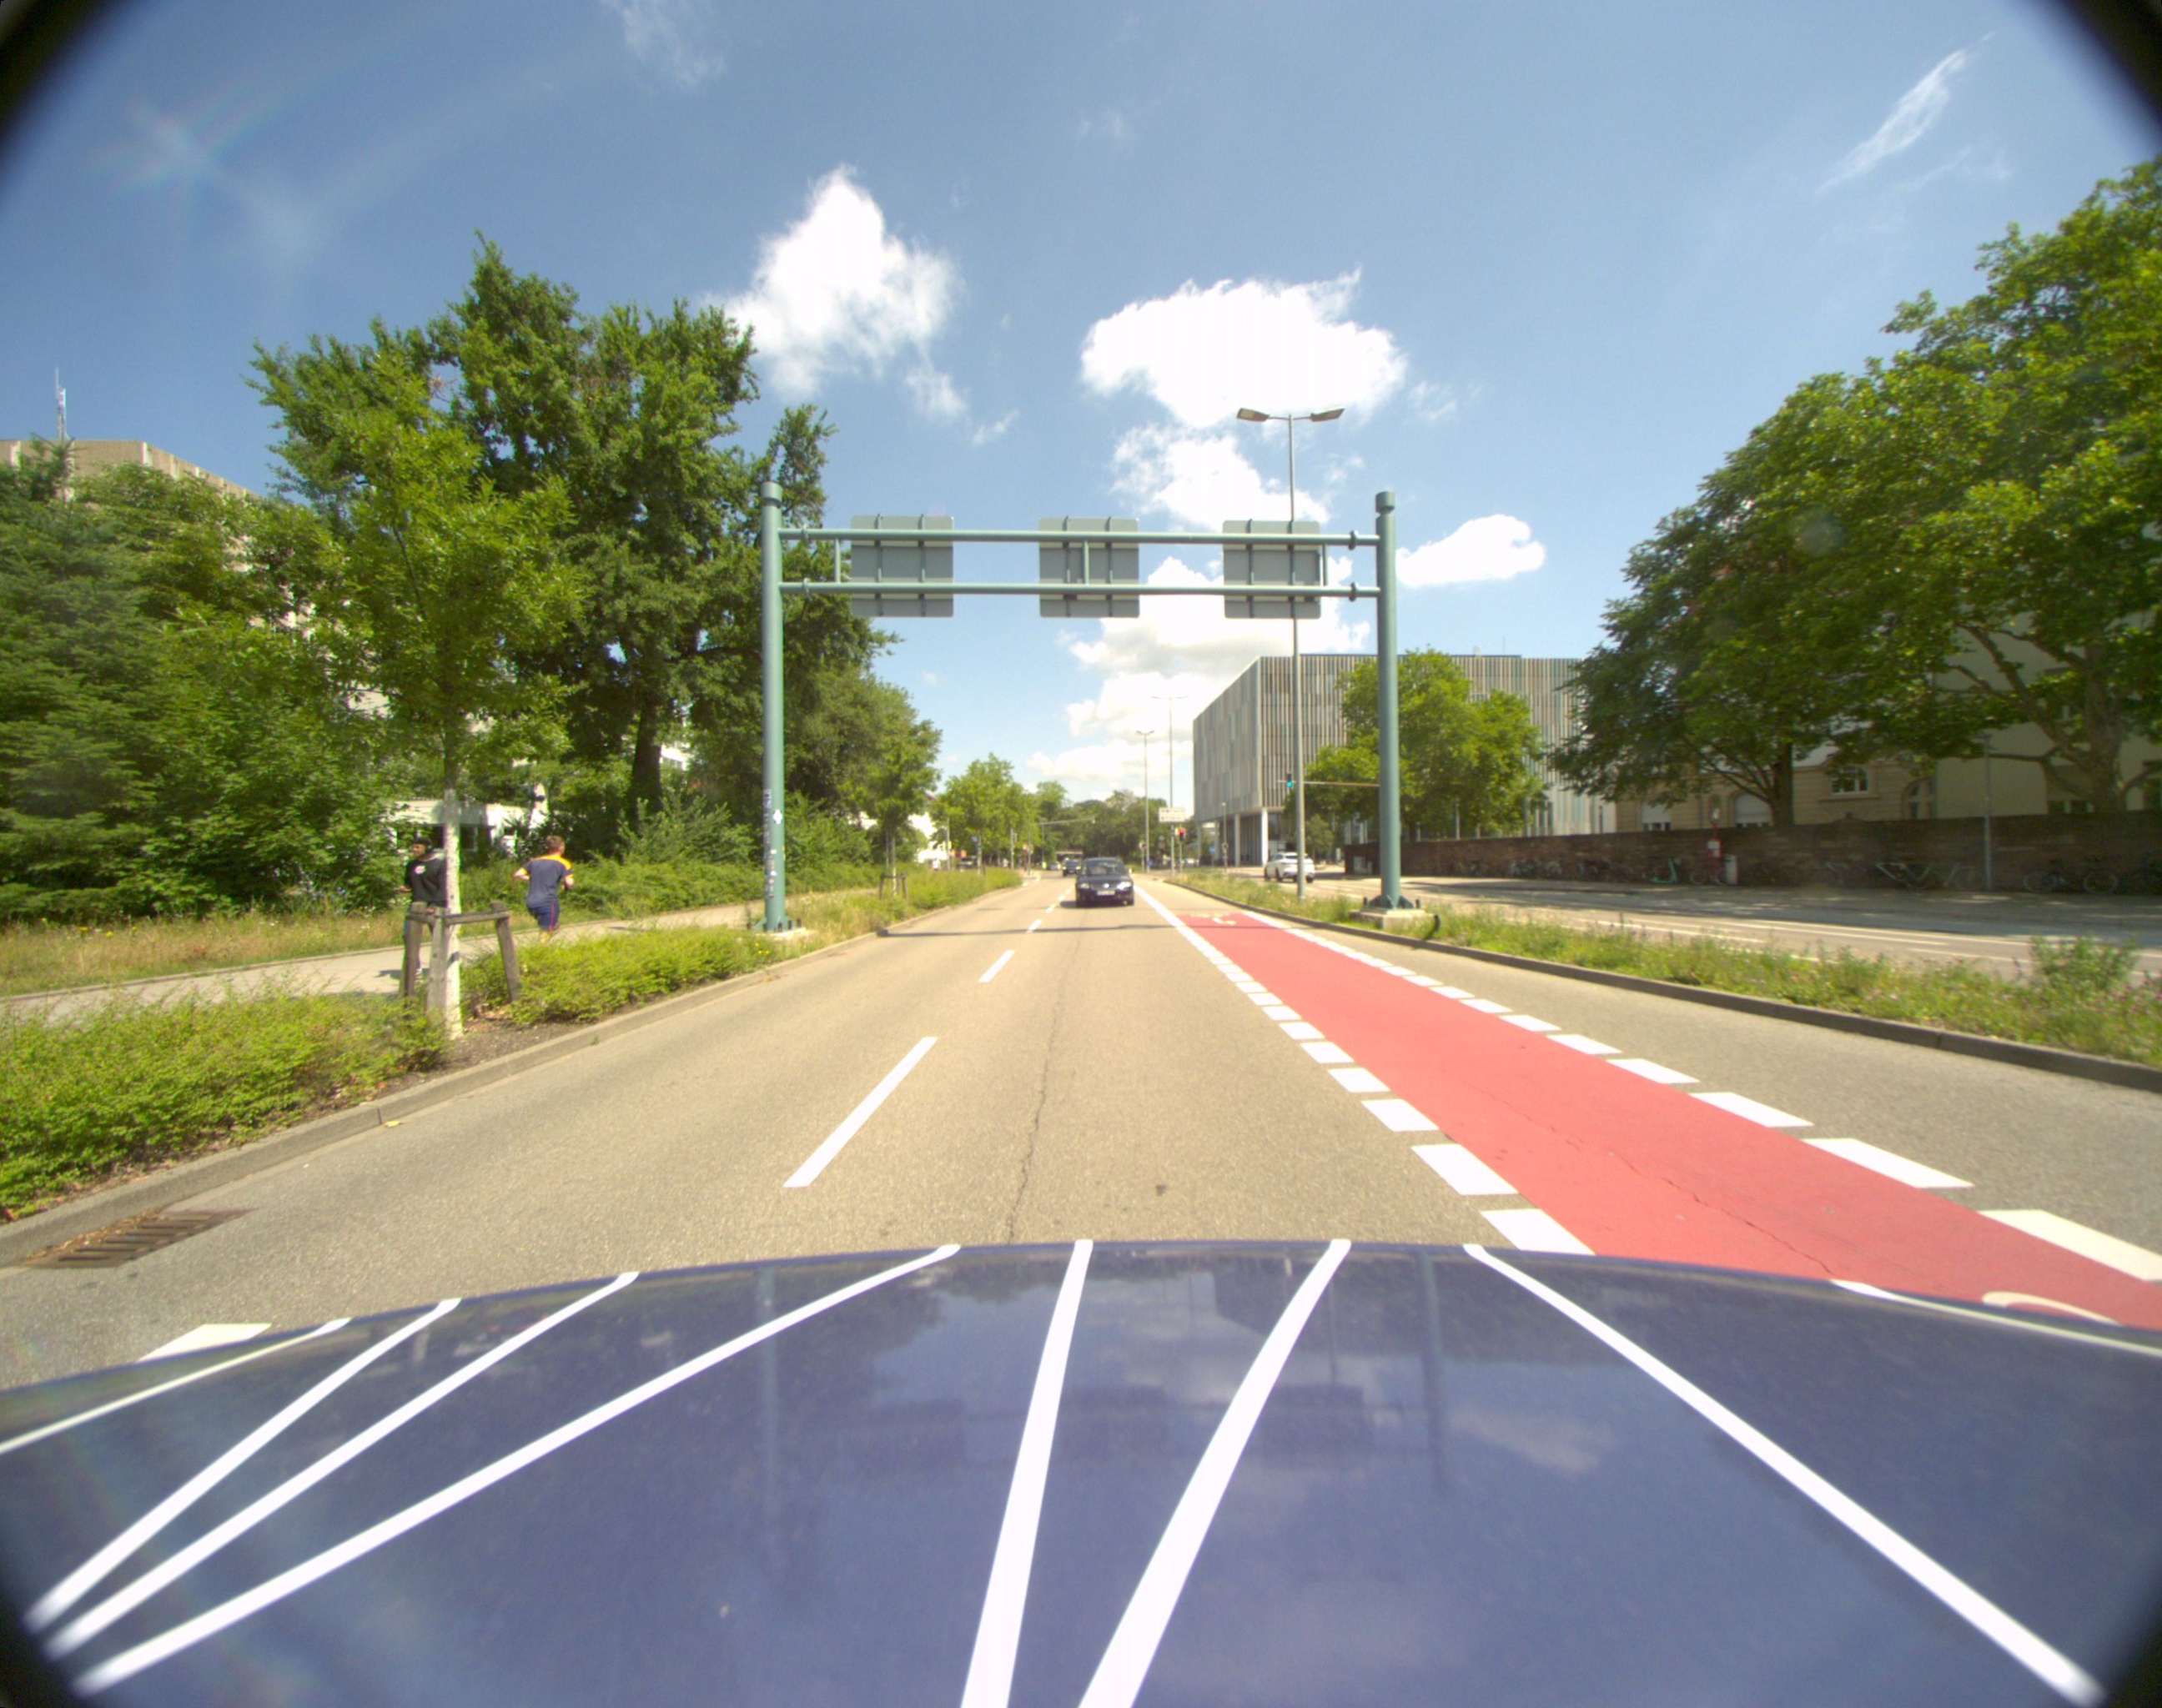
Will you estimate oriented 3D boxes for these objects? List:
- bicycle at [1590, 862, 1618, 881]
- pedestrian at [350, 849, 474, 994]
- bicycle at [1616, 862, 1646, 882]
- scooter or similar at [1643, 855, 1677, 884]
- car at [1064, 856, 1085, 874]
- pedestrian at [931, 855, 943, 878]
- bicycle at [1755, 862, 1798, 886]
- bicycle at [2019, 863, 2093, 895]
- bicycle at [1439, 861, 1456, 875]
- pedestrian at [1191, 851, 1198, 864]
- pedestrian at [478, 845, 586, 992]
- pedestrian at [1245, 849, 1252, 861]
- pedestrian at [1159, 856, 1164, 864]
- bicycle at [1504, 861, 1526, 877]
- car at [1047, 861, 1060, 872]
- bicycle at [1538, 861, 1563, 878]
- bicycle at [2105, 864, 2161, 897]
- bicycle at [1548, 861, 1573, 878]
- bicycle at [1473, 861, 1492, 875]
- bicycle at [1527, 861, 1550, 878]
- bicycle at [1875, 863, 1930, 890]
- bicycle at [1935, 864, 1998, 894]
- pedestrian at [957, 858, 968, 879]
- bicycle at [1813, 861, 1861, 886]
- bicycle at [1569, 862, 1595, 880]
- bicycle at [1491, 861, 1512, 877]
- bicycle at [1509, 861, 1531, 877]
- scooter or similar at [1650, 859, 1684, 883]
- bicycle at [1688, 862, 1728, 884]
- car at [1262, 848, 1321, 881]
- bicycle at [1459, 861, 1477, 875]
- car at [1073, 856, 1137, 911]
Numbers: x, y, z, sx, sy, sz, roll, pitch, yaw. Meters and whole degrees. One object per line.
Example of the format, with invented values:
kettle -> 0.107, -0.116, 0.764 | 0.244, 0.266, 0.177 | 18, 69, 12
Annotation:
bicycle -> 24.038, 0.791, 34.916 | 0.265, 0.826, 1.235 | -1, 0, -11
pedestrian -> -8.114, 0.791, 9.248 | 0.760, 1.674, 0.817 | -1, 0, 12
bicycle -> 24.149, 0.779, 33.380 | 0.265, 0.826, 1.235 | -1, 0, -11
scooter or similar -> 23.807, 0.629, 31.278 | 0.265, 1.182, 1.234 | -1, 0, -11
car -> -0.570, 1.024, 71.782 | 1.816, 1.598, 4.479 | -3, 0, 1
pedestrian -> -12.509, 1.069, 66.001 | 0.847, 2.026, 0.900 | -1, 0, -26
bicycle -> 25.190, 0.715, 27.530 | 0.265, 0.826, 1.235 | -1, 0, -11
bicycle -> 26.642, 0.677, 20.783 | 0.265, 0.826, 1.234 | -1, 0, -13
bicycle -> 22.490, 0.840, 46.658 | 0.265, 0.826, 1.235 | -1, 0, -11
pedestrian -> 17.460, 0.492, 116.505 | 0.864, 2.002, 0.995 | -1, 0, -1
pedestrian -> -6.868, 0.781, 9.545 | 0.639, 1.754, 0.887 | -1, 0, 7
pedestrian -> 26.711, 0.184, 121.248 | 0.864, 2.002, 0.995 | -1, 0, 0
pedestrian -> 15.970, 1.168, 150.523 | 0.864, 1.647, 0.995 | -1, 0, -1
bicycle -> 22.907, 0.803, 40.104 | 0.265, 0.826, 1.234 | -1, 0, -11
car -> -4.332, 1.950, 122.140 | 1.816, 1.598, 4.479 | -3, 0, 1
bicycle -> 23.186, 0.757, 37.535 | 0.265, 0.826, 1.234 | -1, 0, -11
bicycle -> 27.130, 0.673, 19.356 | 0.265, 0.826, 1.234 | -1, 0, -13
bicycle -> 23.659, 0.757, 37.508 | 0.265, 0.826, 1.235 | -1, 0, -11
bicycle -> 22.952, 0.793, 43.444 | 0.265, 0.826, 1.234 | -1, 0, -11
bicycle -> 23.470, 0.795, 39.007 | 0.265, 0.826, 1.235 | -1, 0, -11
bicycle -> 25.982, 0.708, 24.049 | 0.265, 0.826, 1.235 | -1, 0, -11
bicycle -> 26.244, 0.730, 22.538 | 0.265, 0.826, 1.235 | -1, 0, -11
pedestrian -> -9.294, 1.119, 59.784 | 0.767, 1.601, 0.765 | -1, 0, -4
bicycle -> 25.710, 0.639, 25.865 | 0.265, 0.826, 1.235 | -1, 0, -11
bicycle -> 23.865, 0.787, 36.208 | 0.265, 0.826, 1.235 | -1, 0, -11
bicycle -> 23.154, 0.825, 41.812 | 0.265, 0.826, 1.234 | -1, 0, -11
bicycle -> 23.360, 0.797, 40.417 | 0.265, 0.826, 1.234 | -1, 0, -11
scooter or similar -> 24.576, 0.701, 31.860 | 0.266, 1.014, 1.140 | -1, 0, -22
bicycle -> 24.820, 0.748, 30.090 | 0.265, 0.826, 1.233 | -1, 0, -21
car -> 11.604, 0.582, 42.265 | 1.999, 1.701, 4.512 | -1, 0, -1
bicycle -> 22.814, 0.822, 44.792 | 0.265, 0.826, 1.235 | -1, 0, -11
car -> 0.715, 0.835, 23.509 | 1.723, 1.472, 4.594 | -3, 0, 1
